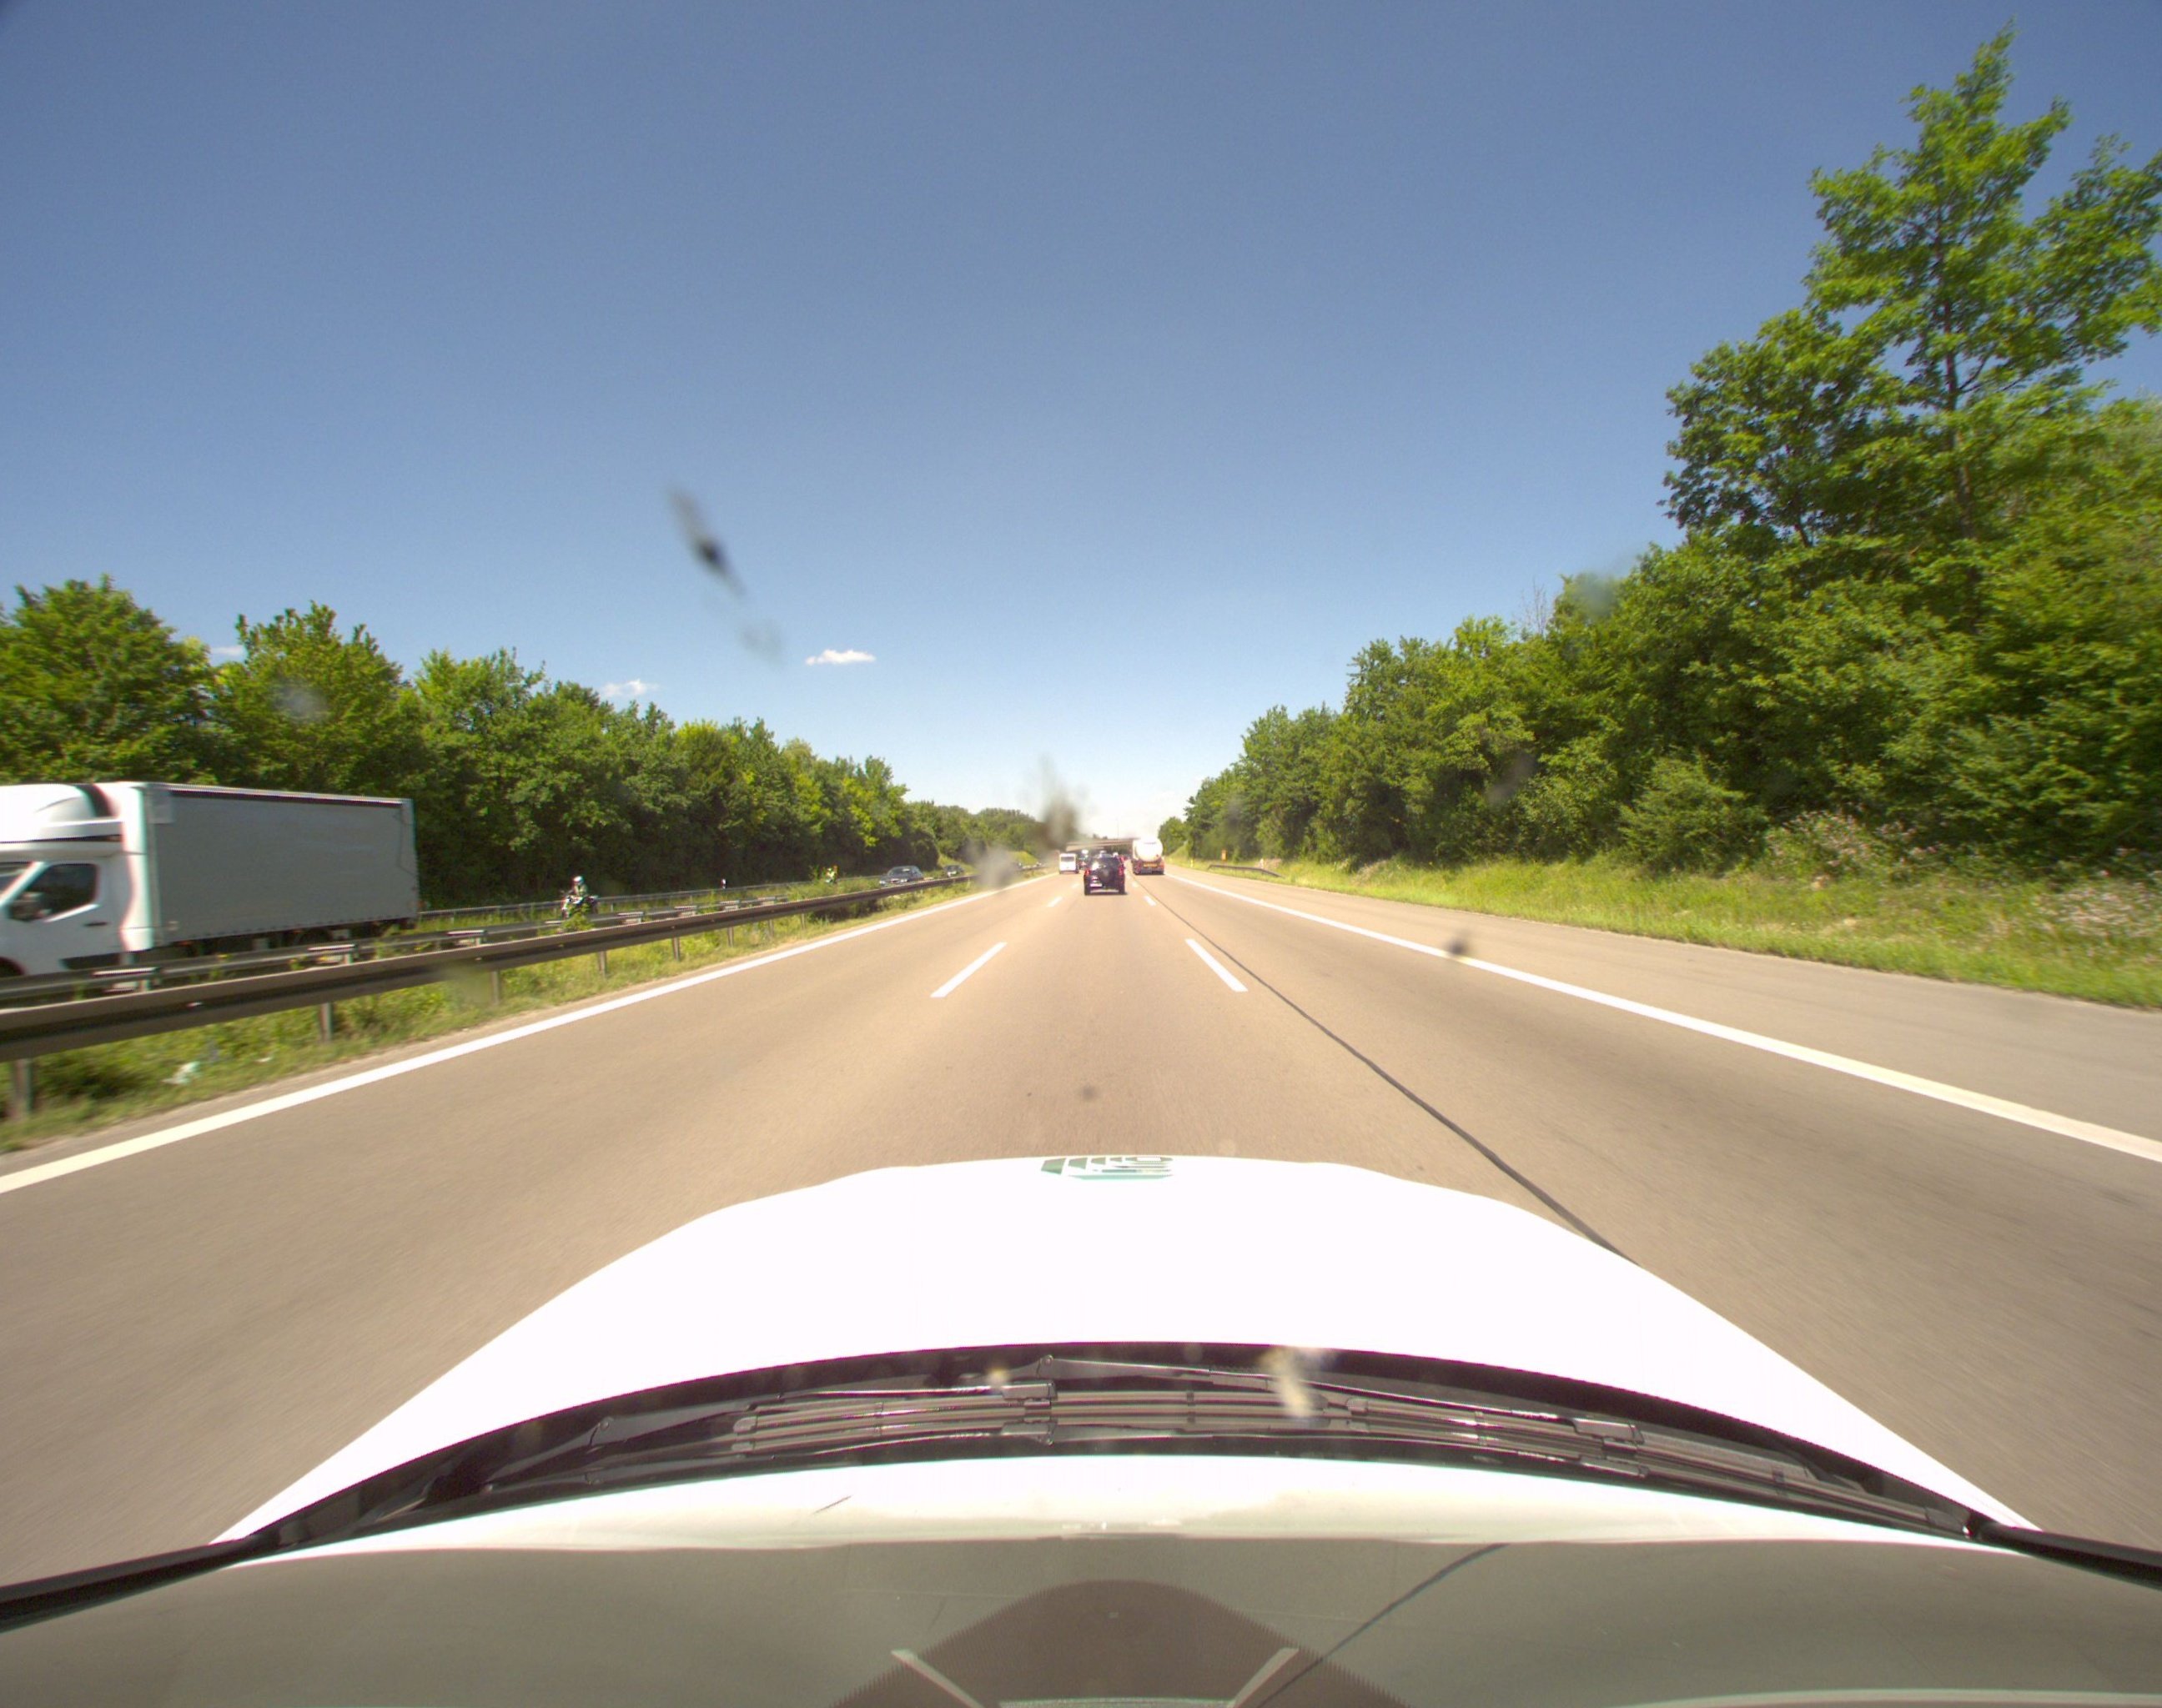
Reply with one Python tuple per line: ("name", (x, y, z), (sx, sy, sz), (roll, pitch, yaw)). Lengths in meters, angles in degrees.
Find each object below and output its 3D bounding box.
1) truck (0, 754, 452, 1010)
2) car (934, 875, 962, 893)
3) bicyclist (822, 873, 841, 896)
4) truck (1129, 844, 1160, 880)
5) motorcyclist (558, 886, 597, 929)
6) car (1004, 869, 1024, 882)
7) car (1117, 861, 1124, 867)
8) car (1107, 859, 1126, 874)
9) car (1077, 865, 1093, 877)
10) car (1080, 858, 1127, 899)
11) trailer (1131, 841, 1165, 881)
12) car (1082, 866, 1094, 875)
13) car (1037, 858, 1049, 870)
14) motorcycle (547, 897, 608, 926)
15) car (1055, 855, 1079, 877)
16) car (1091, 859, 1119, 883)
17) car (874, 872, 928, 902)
("truck", (-15.283, 0.507, 13.840), (2.769, 3.305, 8.058), (-2, -2, 1))
("car", (-13.043, 2.931, 80.234), (1.860, 1.585, 4.559), (-2, -1, 1))
("bicyclist", (-16.991, 2.078, 55.513), (0.877, 1.577, 1.287), (-2, -2, 1))
("truck", (6.206, 0.763, 80.323), (2.628, 3.375, 6.488), (-1, -1, 1))
("motorcyclist", (-18.554, 1.961, 30.030), (0.802, 1.500, 0.932), (-2, -1, 2))
("car", (-8.344, 2.657, 102.169), (1.986, 1.520, 4.428), (-2, -1, 1))
("car", (11.248, 2.710, 230.862), (1.986, 1.574, 4.001), (-2, -1, 2))
("car", (4.186, 1.473, 95.194), (1.984, 1.684, 4.004), (-2, -2, 4))
("car", (0.605, 2.299, 108.728), (1.986, 1.552, 4.001), (-2, -2, 2))
("car", (1.043, 1.067, 35.906), (1.898, 1.665, 4.004), (-2, -1, 4))
("trailer", (6.069, 0.678, 75.330), (2.638, 3.390, 11.156), (-1, -1, 2))
("car", (1.330, 2.980, 148.496), (1.986, 1.574, 4.001), (-2, -1, 2))
("car", (-6.570, 1.767, 141.341), (1.684, 1.882, 5.020), (-2, -1, 1))
("motorcycle", (-18.557, 2.114, 30.088), (0.802, 0.946, 2.222), (-2, -1, 2))
("car", (-1.371, 1.238, 82.677), (1.985, 2.014, 4.953), (-2, -1, 3))
("car", (1.889, 1.320, 63.073), (1.986, 1.706, 4.338), (-2, -1, 2))
("car", (-10.486, 1.919, 47.712), (1.986, 1.598, 4.593), (-2, -1, 1))
